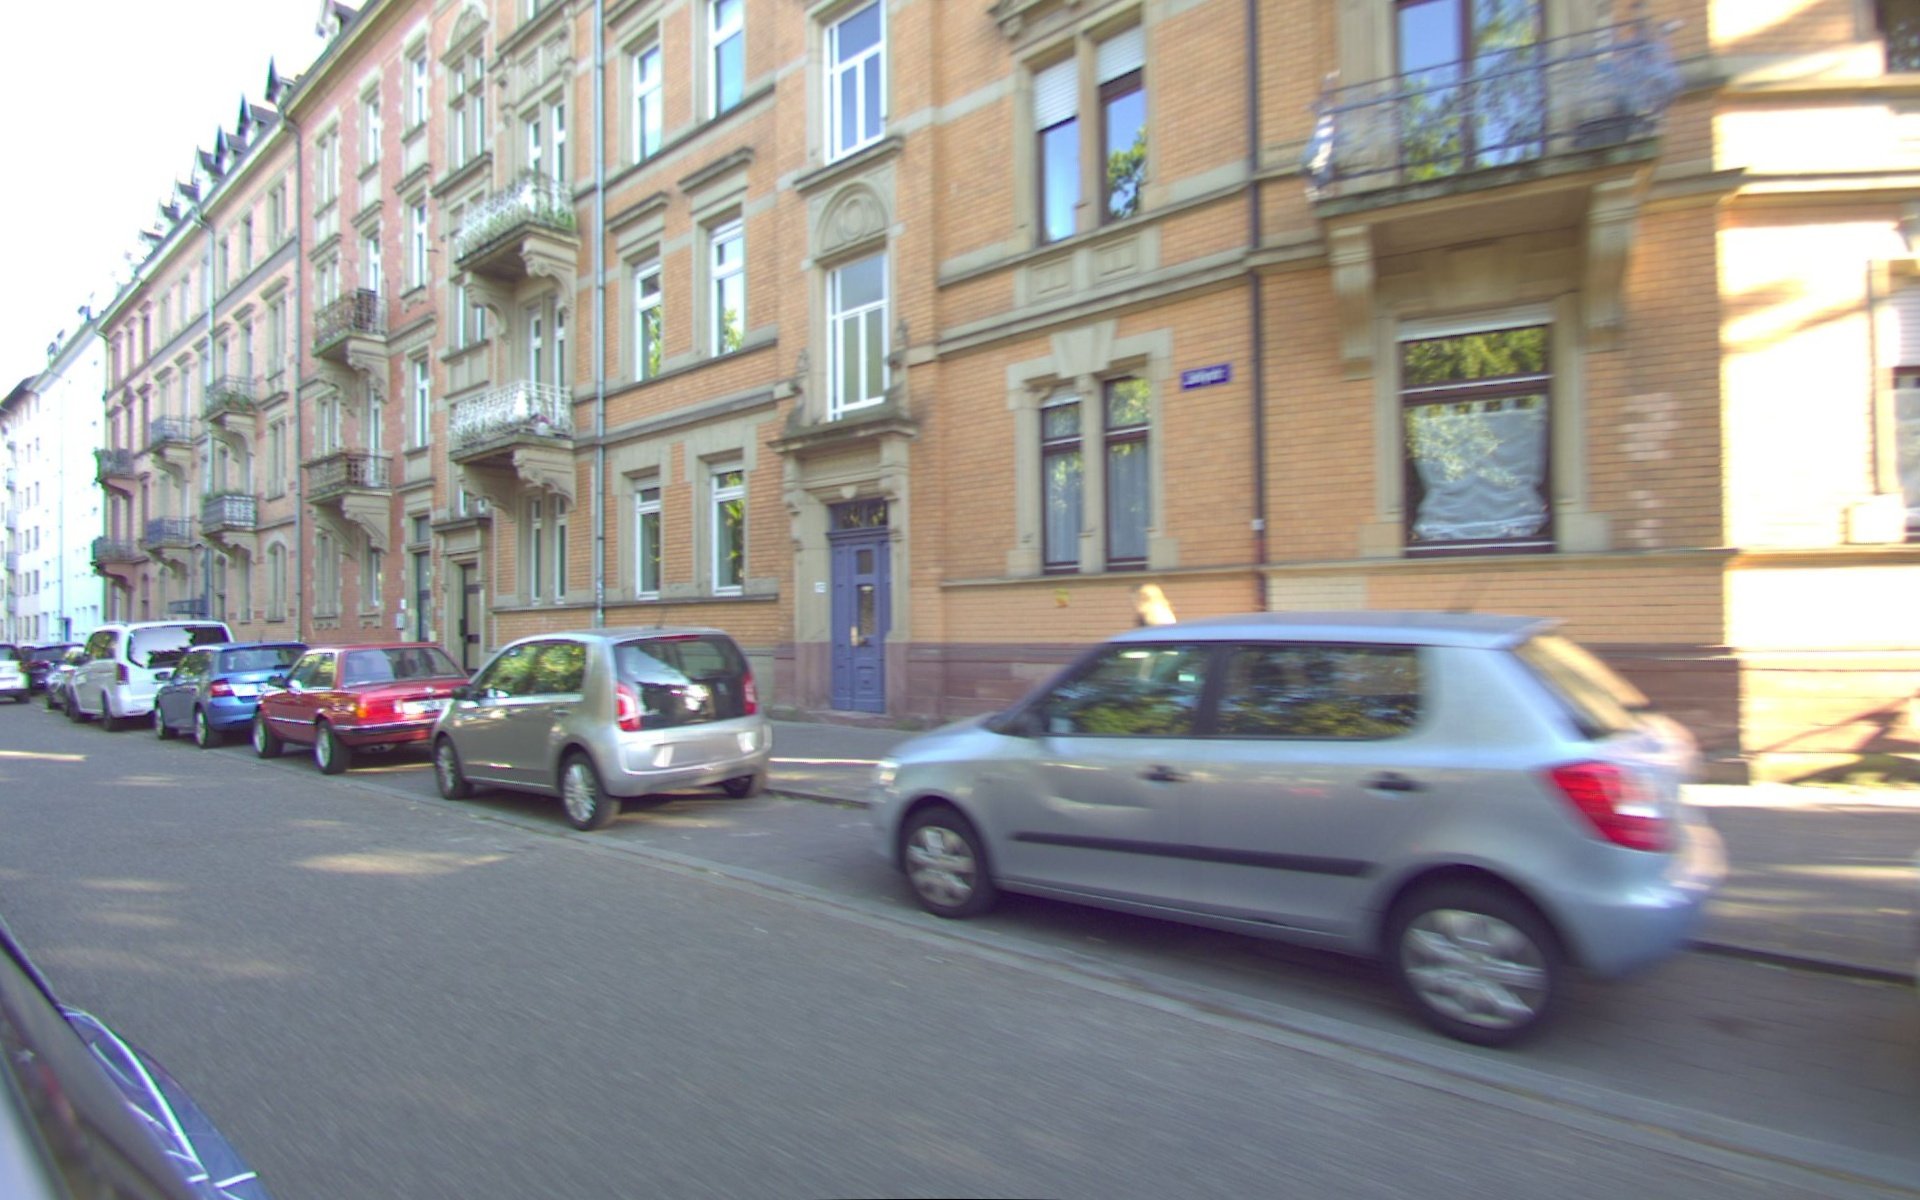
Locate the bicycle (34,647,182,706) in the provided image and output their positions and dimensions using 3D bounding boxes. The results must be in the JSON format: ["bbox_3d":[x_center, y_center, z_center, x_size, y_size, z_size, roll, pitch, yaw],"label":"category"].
[{"bbox_3d":[-23.302,2.061,27.762,0.817,1.496,3.003,-3,-4,41],"label":"bicycle"}]

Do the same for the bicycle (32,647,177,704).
[{"bbox_3d":[-23.913,2.087,28.369,0.817,1.496,3.003,-3,-4,41],"label":"bicycle"}]

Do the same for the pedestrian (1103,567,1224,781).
[{"bbox_3d":[1.750,0.604,8.707,0.722,1.731,0.666,-3,-1,44],"label":"pedestrian"}]

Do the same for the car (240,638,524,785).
[{"bbox_3d":[-7.134,1.220,12.292,4.289,1.394,1.744,-3,-1,42],"label":"car"}]

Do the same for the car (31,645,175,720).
[{"bbox_3d":[-19.553,1.820,23.026,4.390,1.452,1.857,-3,-1,41],"label":"car"}]

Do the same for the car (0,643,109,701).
[{"bbox_3d":[-26.335,2.043,29.354,4.390,1.452,1.857,-3,-1,41],"label":"car"}]

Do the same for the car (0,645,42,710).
[{"bbox_3d":[-25.229,1.989,26.053,4.390,1.548,1.857,-3,-1,41],"label":"car"}]

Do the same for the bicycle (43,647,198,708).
[{"bbox_3d":[-21.998,2.004,26.598,0.817,1.496,3.003,-3,-4,41],"label":"bicycle"}]

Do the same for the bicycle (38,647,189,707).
[{"bbox_3d":[-22.651,2.032,27.162,0.817,1.496,3.003,-3,-4,41],"label":"bicycle"}]

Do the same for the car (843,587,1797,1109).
[{"bbox_3d":[1.412,0.777,4.810,3.878,1.486,1.667,-3,-1,40],"label":"car"}]

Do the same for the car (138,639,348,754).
[{"bbox_3d":[-11.041,1.388,15.499,3.886,1.449,1.745,-3,-1,41],"label":"car"}]

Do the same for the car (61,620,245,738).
[{"bbox_3d":[-15.342,1.415,19.136,4.722,1.897,1.887,-3,-1,41],"label":"car"}]

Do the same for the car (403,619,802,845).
[{"bbox_3d":[-3.228,0.979,8.790,3.707,1.486,1.666,-3,-1,42],"label":"car"}]
